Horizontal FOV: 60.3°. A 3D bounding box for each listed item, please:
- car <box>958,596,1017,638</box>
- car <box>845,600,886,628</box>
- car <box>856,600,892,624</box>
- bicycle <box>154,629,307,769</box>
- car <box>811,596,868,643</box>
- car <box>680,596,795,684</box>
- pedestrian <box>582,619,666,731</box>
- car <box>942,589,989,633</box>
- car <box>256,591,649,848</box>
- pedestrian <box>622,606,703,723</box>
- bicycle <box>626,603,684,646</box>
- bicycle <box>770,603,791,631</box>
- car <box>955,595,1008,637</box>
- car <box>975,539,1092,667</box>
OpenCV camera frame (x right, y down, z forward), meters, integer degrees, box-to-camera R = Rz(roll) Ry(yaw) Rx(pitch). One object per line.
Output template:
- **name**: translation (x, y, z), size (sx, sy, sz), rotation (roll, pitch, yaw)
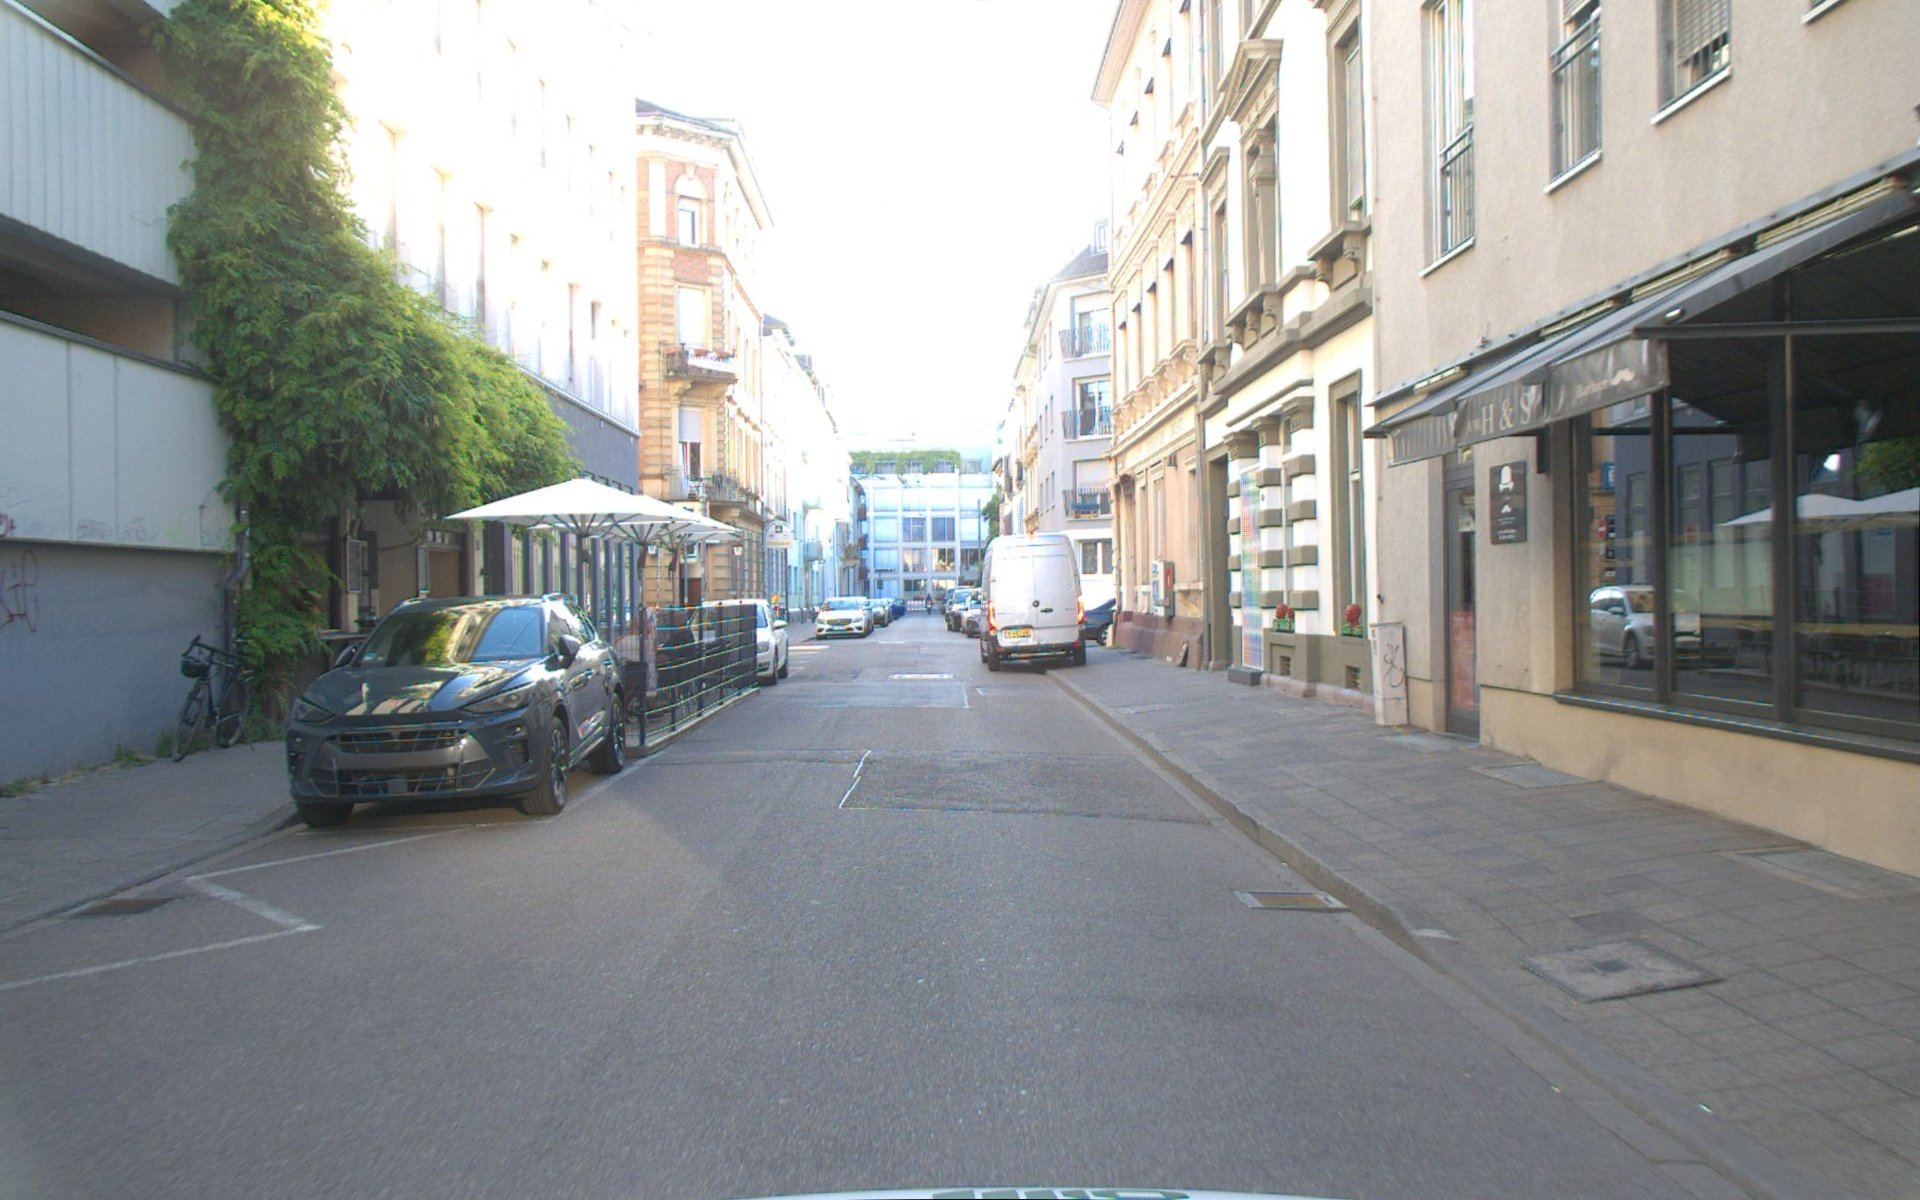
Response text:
- **car**: translation (0.971, 0.584, 60.043), size (1.899, 1.396, 3.787), rotation (-2, 0, -2)
- **car**: translation (-4.764, 0.691, 83.910), size (1.953, 1.378, 4.428), rotation (-1, 0, -1)
- **car**: translation (-5.297, 0.710, 101.672), size (2.130, 1.443, 3.997), rotation (-1, 0, -3)
- **bicycle**: translation (-6.741, 0.883, 15.386), size (0.630, 1.180, 1.794), rotation (0, 0, 0)
- **car**: translation (-4.405, 0.675, 61.091), size (1.954, 1.591, 4.503), rotation (-2, 0, -3)
- **car**: translation (-3.873, 0.667, 29.279), size (1.624, 1.438, 3.881), rotation (-1, 0, -2)
- **pedestrian**: translation (-3.690, 0.811, 18.207), size (0.542, 1.186, 0.740), rotation (-1, 0, 31)
- **car**: translation (0.225, 0.471, 71.517), size (1.855, 1.815, 3.998), rotation (-1, 0, -2)
- **car**: translation (-3.795, 0.777, 13.320), size (1.844, 1.595, 4.768), rotation (-3, 0, -3)
- **pedestrian**: translation (-3.464, 0.738, 19.335), size (0.765, 1.309, 0.915), rotation (-1, 0, -1)
- **bicycle**: translation (-9.639, 0.775, 52.344), size (1.723, 1.297, 0.660), rotation (0, 3, -5)
- **bicycle**: translation (-7.847, 0.748, 72.318), size (0.722, 1.181, 2.461), rotation (0, 0, -1)
- **car**: translation (0.826, 0.615, 66.110), size (1.924, 1.584, 3.887), rotation (-1, 0, -2)
- **car**: translation (1.472, 0.042, 35.507), size (2.230, 2.482, 6.203), rotation (-1, 0, 0)
